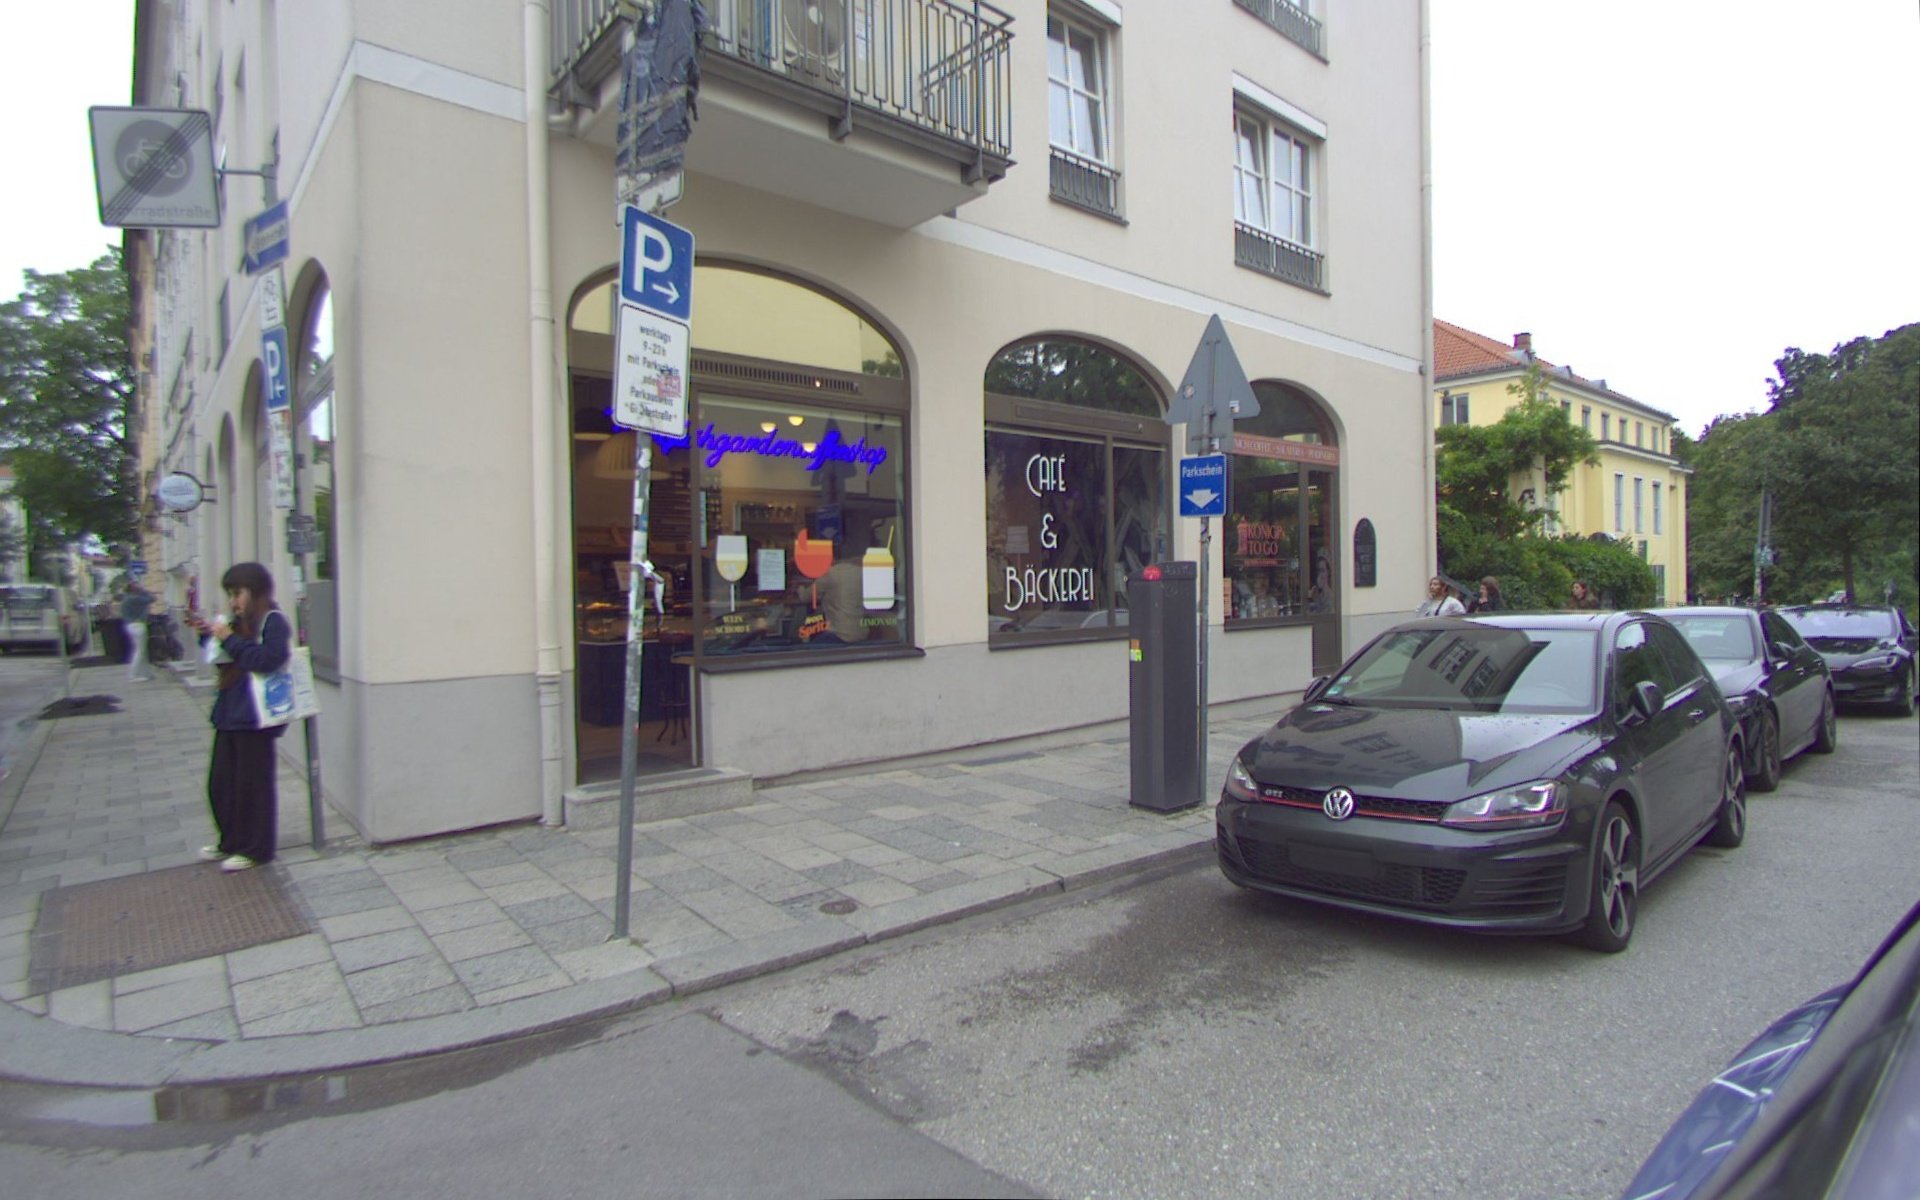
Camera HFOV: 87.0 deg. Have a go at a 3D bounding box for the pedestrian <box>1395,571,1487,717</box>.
[{"bbox_3d":[5.860,0.499,12.326,0.865,1.682,0.706,-3,2,-42],"label":"pedestrian"}]

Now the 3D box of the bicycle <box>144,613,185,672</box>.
[{"bbox_3d":[-15.860,0.825,20.170,0.597,1.085,1.469,-3,2,-39],"label":"bicycle"}]

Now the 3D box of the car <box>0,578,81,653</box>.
[{"bbox_3d":[-26.568,0.427,28.971,2.041,2.012,4.337,3,-2,-41],"label":"car"}]

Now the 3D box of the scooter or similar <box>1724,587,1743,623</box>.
[{"bbox_3d":[26.476,0.166,34.650,0.320,1.228,1.107,1,0,27],"label":"scooter or similar"}]

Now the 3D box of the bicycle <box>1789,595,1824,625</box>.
[{"bbox_3d":[30.245,0.360,36.159,1.620,1.051,0.308,2,0,-26],"label":"bicycle"}]

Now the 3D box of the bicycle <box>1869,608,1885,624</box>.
[{"bbox_3d":[40.143,0.705,44.303,0.890,0.684,0.216,2,0,-29],"label":"bicycle"}]

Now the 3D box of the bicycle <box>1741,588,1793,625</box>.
[{"bbox_3d":[28.251,0.220,35.440,1.623,1.213,0.169,2,0,1],"label":"bicycle"}]

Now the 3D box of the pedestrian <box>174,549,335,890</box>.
[{"bbox_3d":[-3.728,0.576,5.349,0.633,1.667,0.519,-1,1,42],"label":"pedestrian"}]

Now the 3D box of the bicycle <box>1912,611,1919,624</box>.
[{"bbox_3d":[48.790,0.891,51.626,0.893,0.665,0.242,2,0,-40],"label":"bicycle"}]

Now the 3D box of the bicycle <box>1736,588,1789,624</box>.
[{"bbox_3d":[28.267,0.225,35.638,1.623,1.206,0.202,2,0,1],"label":"bicycle"}]

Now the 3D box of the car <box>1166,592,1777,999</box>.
[{"bbox_3d":[3.092,0.719,5.661,4.132,1.443,1.677,-1,-2,-43],"label":"car"}]

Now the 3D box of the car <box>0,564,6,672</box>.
[{"bbox_3d":[-9.621,0.578,8.617,1.940,1.941,4.446,3,-2,-41],"label":"car"}]

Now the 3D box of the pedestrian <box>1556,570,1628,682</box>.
[{"bbox_3d":[9.711,0.382,15.545,0.865,1.642,0.706,-3,2,-42],"label":"pedestrian"}]

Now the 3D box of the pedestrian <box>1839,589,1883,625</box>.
[{"bbox_3d":[33.615,0.275,37.765,1.172,1.310,0.630,-2,-4,40],"label":"pedestrian"}]

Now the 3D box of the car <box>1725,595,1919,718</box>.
[{"bbox_3d":[12.404,0.669,14.123,4.574,1.429,1.806,-1,-1,-41],"label":"car"}]

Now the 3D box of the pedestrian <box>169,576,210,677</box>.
[{"bbox_3d":[-14.216,0.477,18.680,0.534,1.802,0.510,-2,1,-39],"label":"pedestrian"}]

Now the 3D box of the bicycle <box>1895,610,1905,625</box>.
[{"bbox_3d":[45.341,0.833,48.801,0.892,0.684,0.215,2,0,-38],"label":"bicycle"}]

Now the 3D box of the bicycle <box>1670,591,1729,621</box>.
[{"bbox_3d":[26.354,0.219,36.075,1.638,1.006,0.246,2,0,27],"label":"bicycle"}]

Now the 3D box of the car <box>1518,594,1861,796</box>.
[{"bbox_3d":[6.969,0.713,9.471,4.432,1.443,1.647,-1,-2,-42],"label":"car"}]

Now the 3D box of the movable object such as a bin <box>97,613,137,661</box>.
[{"bbox_3d":[-19.075,0.832,22.899,0.557,1.035,0.573,-2,1,-28],"label":"movable object such as a bin"}]

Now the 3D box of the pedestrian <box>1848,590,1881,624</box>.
[{"bbox_3d":[34.111,0.279,38.170,0.883,1.251,0.542,-2,-4,39],"label":"pedestrian"}]

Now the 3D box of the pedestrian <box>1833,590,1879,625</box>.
[{"bbox_3d":[32.901,0.289,37.173,1.211,1.264,0.630,-2,-4,40],"label":"pedestrian"}]

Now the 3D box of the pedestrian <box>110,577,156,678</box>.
[{"bbox_3d":[-14.352,0.463,17.567,0.563,1.717,0.498,-2,1,-40],"label":"pedestrian"}]

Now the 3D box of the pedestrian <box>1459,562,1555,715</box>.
[{"bbox_3d":[6.360,0.420,11.766,0.865,1.682,0.706,-3,2,-42],"label":"pedestrian"}]

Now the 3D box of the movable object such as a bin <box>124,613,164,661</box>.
[{"bbox_3d":[-18.327,0.825,22.737,0.557,1.035,0.573,-2,1,-28],"label":"movable object such as a bin"}]

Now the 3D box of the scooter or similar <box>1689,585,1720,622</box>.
[{"bbox_3d":[25.917,0.137,35.214,1.362,1.264,0.397,1,0,-32],"label":"scooter or similar"}]
